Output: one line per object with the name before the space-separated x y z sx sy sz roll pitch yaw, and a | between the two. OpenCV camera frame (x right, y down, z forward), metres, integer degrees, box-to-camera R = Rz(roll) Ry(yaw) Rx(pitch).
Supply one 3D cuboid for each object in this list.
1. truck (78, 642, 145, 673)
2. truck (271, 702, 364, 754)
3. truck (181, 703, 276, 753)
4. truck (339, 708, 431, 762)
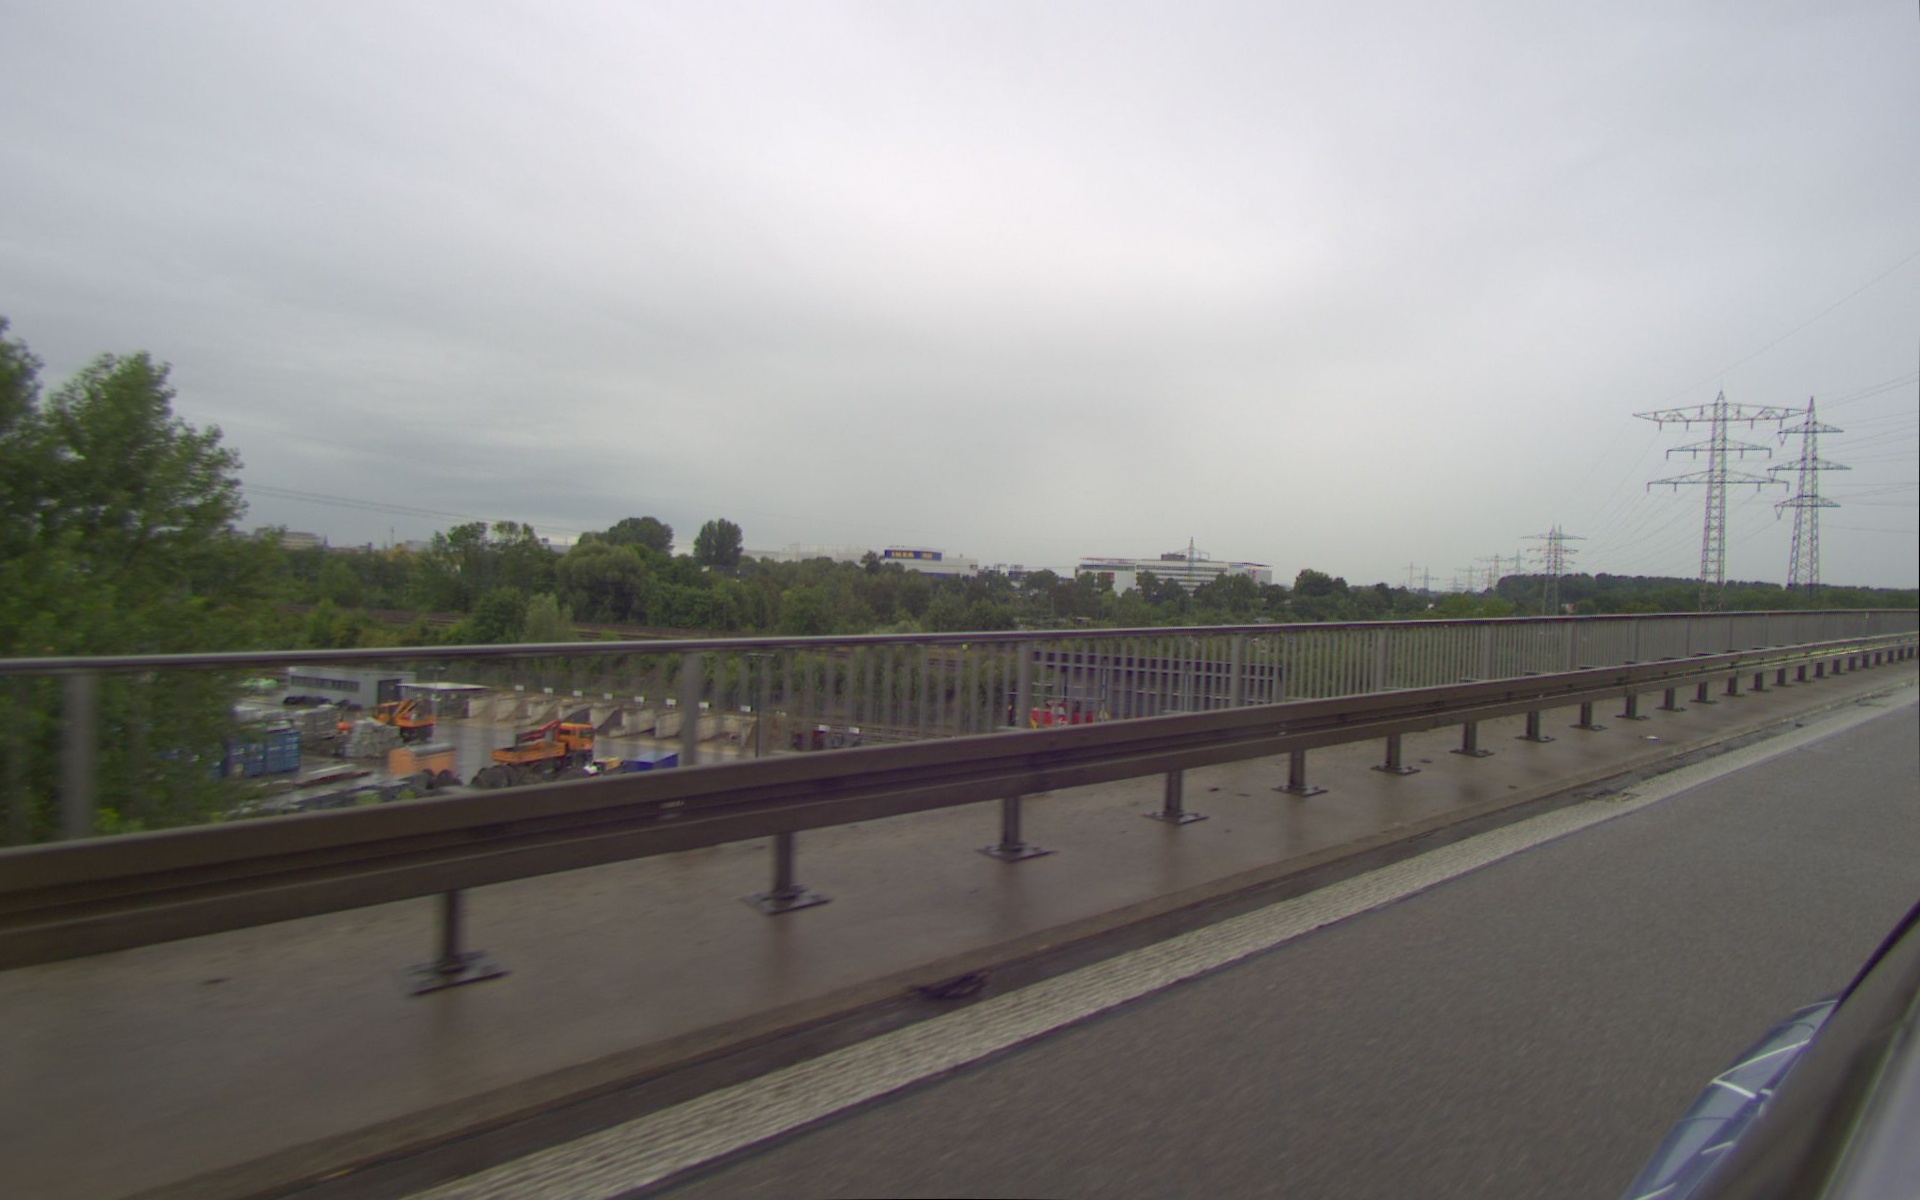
truck | -99.348 6.649 118.625 2.067 3.224 6.581 0 0 4
truck | -51.261 10.136 80.912 2.076 3.224 6.553 0 0 17
truck | -61.167 10.630 84.779 2.076 3.224 6.553 0 0 17
truck | -44.252 10.329 78.151 2.076 3.224 6.553 0 0 17
